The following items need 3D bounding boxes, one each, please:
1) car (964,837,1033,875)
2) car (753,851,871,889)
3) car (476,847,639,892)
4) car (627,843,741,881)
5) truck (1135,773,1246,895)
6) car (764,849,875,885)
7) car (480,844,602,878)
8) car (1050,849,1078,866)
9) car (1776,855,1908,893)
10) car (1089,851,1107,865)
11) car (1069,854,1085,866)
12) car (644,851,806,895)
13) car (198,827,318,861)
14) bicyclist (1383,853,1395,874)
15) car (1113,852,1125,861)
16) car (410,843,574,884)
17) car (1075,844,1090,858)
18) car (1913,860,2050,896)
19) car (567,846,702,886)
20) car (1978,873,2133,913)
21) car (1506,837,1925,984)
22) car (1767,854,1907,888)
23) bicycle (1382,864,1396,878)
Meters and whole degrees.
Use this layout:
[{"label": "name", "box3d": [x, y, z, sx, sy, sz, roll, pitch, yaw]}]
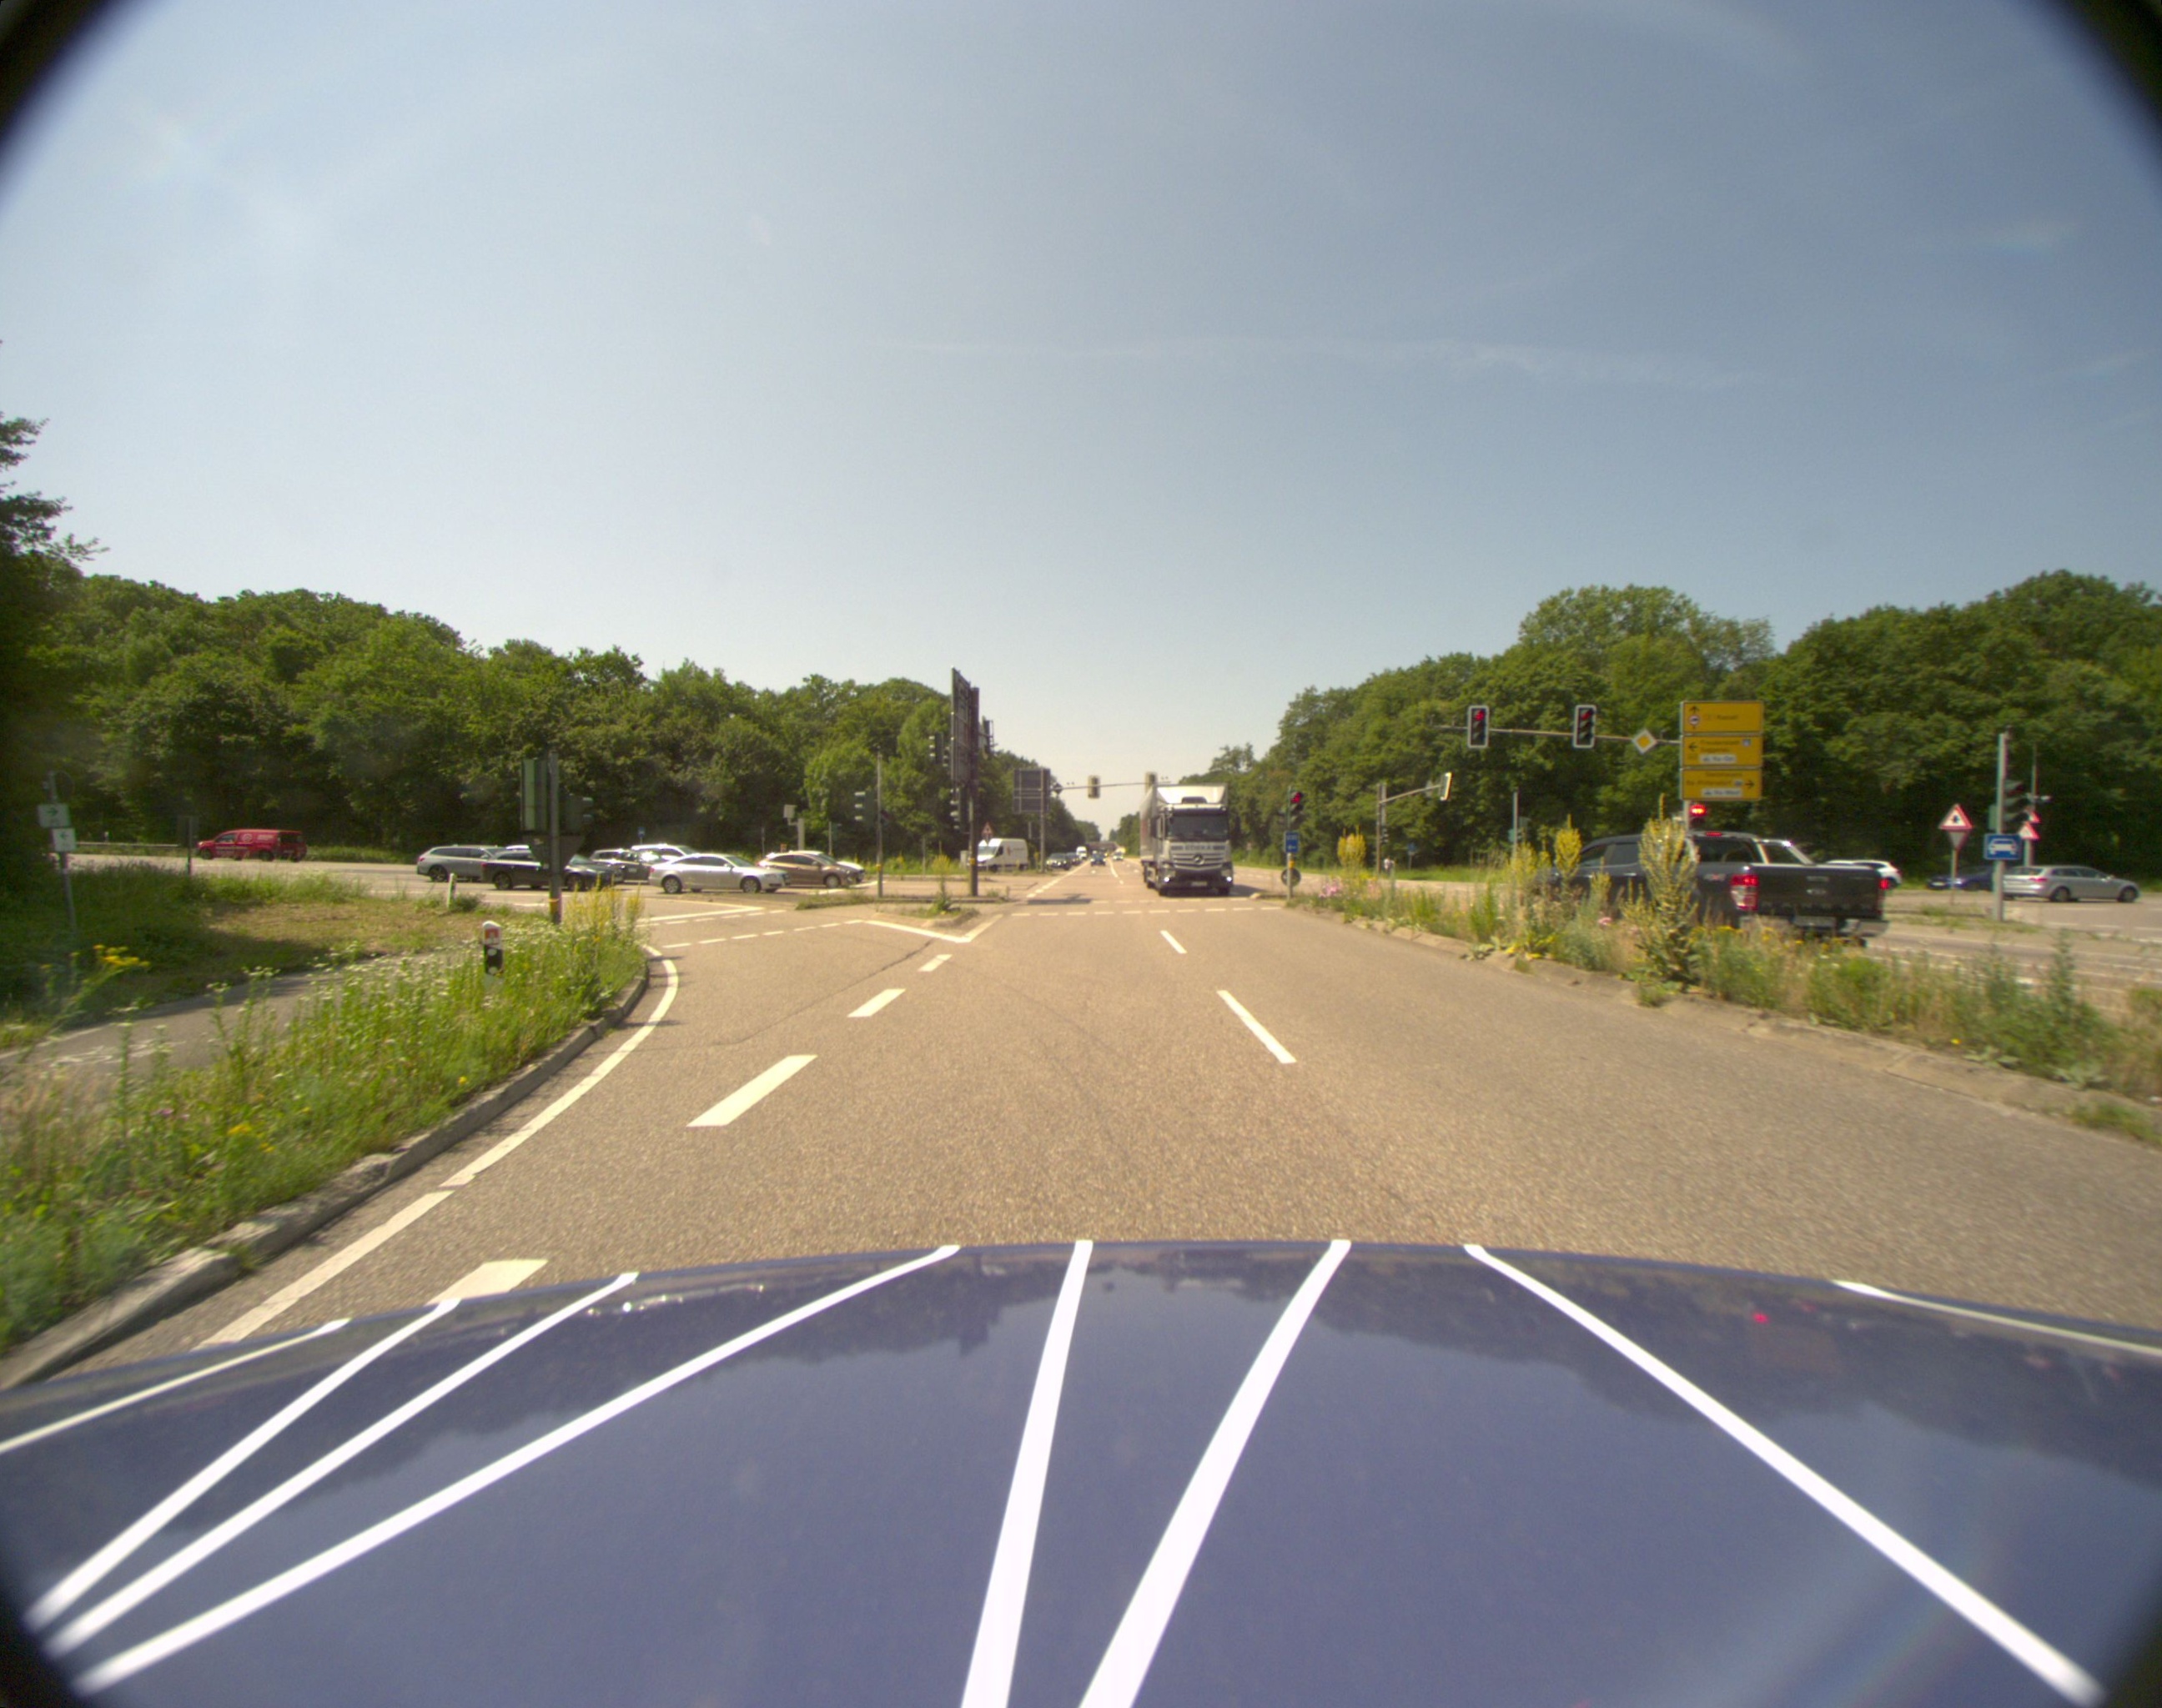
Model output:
[{"label": "car", "box3d": [-5.992, 0.107, 55.988, 1.971, 2.629, 6.070, -1, 0, 27]}, {"label": "car", "box3d": [-10.988, 0.643, 31.231, 4.102, 1.438, 1.995, 1, 1, 0]}, {"label": "car", "box3d": [-19.363, 0.545, 28.277, 4.628, 1.490, 2.112, 1, 1, 2]}, {"label": "car", "box3d": [-18.230, 0.359, 35.019, 4.182, 1.649, 2.000, 1, 1, 2]}, {"label": "truck", "box3d": [3.880, -0.673, 29.868, 2.753, 3.862, 11.319, -1, 0, 0]}, {"label": "car", "box3d": [-12.011, 0.568, 35.114, 4.430, 1.526, 2.000, 1, 1, 0]}, {"label": "car", "box3d": [-25.055, 0.303, 35.353, 4.341, 1.406, 1.974, 1, 1, 2]}, {"label": "car", "box3d": [-1.510, 0.297, 68.720, 1.795, 1.452, 4.231, 1, 1, 9]}, {"label": "car", "box3d": [40.490, 1.019, 40.518, 4.816, 1.885, 2.066, 1, 1, 2]}, {"label": "car", "box3d": [1.940, 0.434, 87.849, 1.992, 1.575, 4.364, 0, 0, 0]}, {"label": "car", "box3d": [-0.452, 0.723, 90.518, 1.796, 1.431, 4.228, 0, 0, 0]}, {"label": "car", "box3d": [-12.885, 0.666, 27.697, 4.943, 1.490, 2.020, 0, 1, 2]}, {"label": "car", "box3d": [-46.356, -0.565, 42.861, 4.495, 1.812, 1.797, -1, 0, -6]}, {"label": "bicyclist", "box3d": [21.554, 0.629, 53.186, 0.660, 1.456, 0.810, 1, 1, 11]}, {"label": "car", "box3d": [6.820, 0.461, 135.459, 1.998, 1.543, 4.000, 1, 0, 1]}, {"label": "car", "box3d": [-24.238, 0.357, 31.415, 5.141, 1.525, 2.138, 1, 1, 2]}, {"label": "car", "box3d": [0.339, -0.541, 153.924, 2.673, 2.685, 6.331, 1, 0, 3]}, {"label": "car", "box3d": [47.631, 1.245, 40.254, 4.817, 1.747, 2.000, 1, 1, 0]}, {"label": "car", "box3d": [-18.694, 0.474, 31.966, 4.430, 1.526, 2.122, 1, 1, 1]}, {"label": "car", "box3d": [37.861, 1.483, 29.588, 4.013, 1.383, 1.770, -1, 0, -4]}, {"label": "car", "box3d": [8.916, 0.641, 11.573, 1.998, 1.668, 5.366, 2, 0, 2]}, {"label": "car", "box3d": [36.136, 0.788, 36.392, 4.817, 1.510, 1.862, 1, 1, 0]}, {"label": "bicycle", "box3d": [21.552, 1.172, 53.179, 0.566, 0.918, 1.606, 1, 0, 11]}]
